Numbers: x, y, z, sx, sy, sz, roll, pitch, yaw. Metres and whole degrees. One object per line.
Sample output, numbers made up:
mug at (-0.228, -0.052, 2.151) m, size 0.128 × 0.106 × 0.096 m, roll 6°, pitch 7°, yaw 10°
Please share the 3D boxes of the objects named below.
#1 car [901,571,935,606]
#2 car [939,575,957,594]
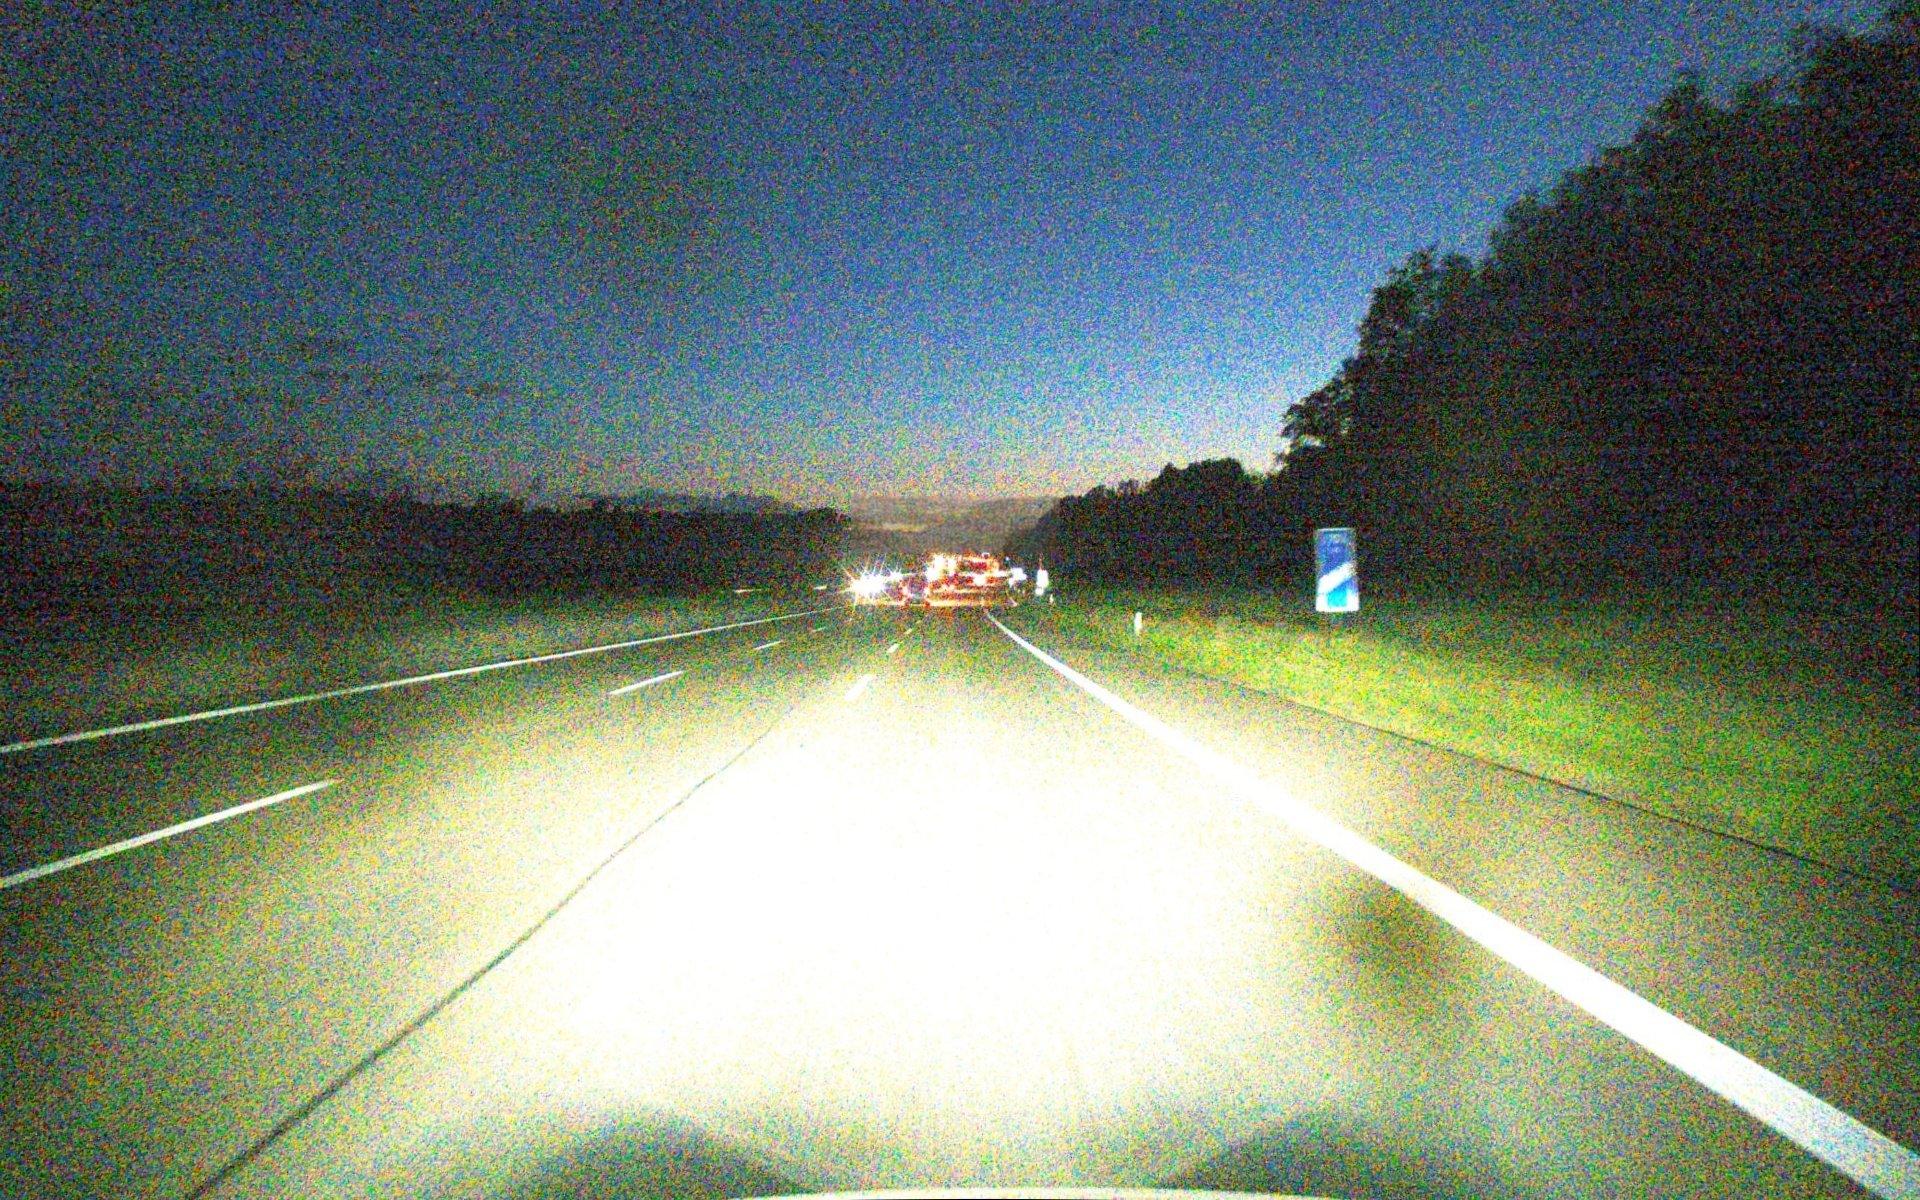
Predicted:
car at (-3.459, -0.895, 136.418) m, size 2.730 × 2.781 × 6.297 m, roll 0°, pitch 0°, yaw -2°
car at (-1.935, -2.430, 260.433) m, size 2.730 × 2.781 × 6.296 m, roll 0°, pitch 0°, yaw -2°
